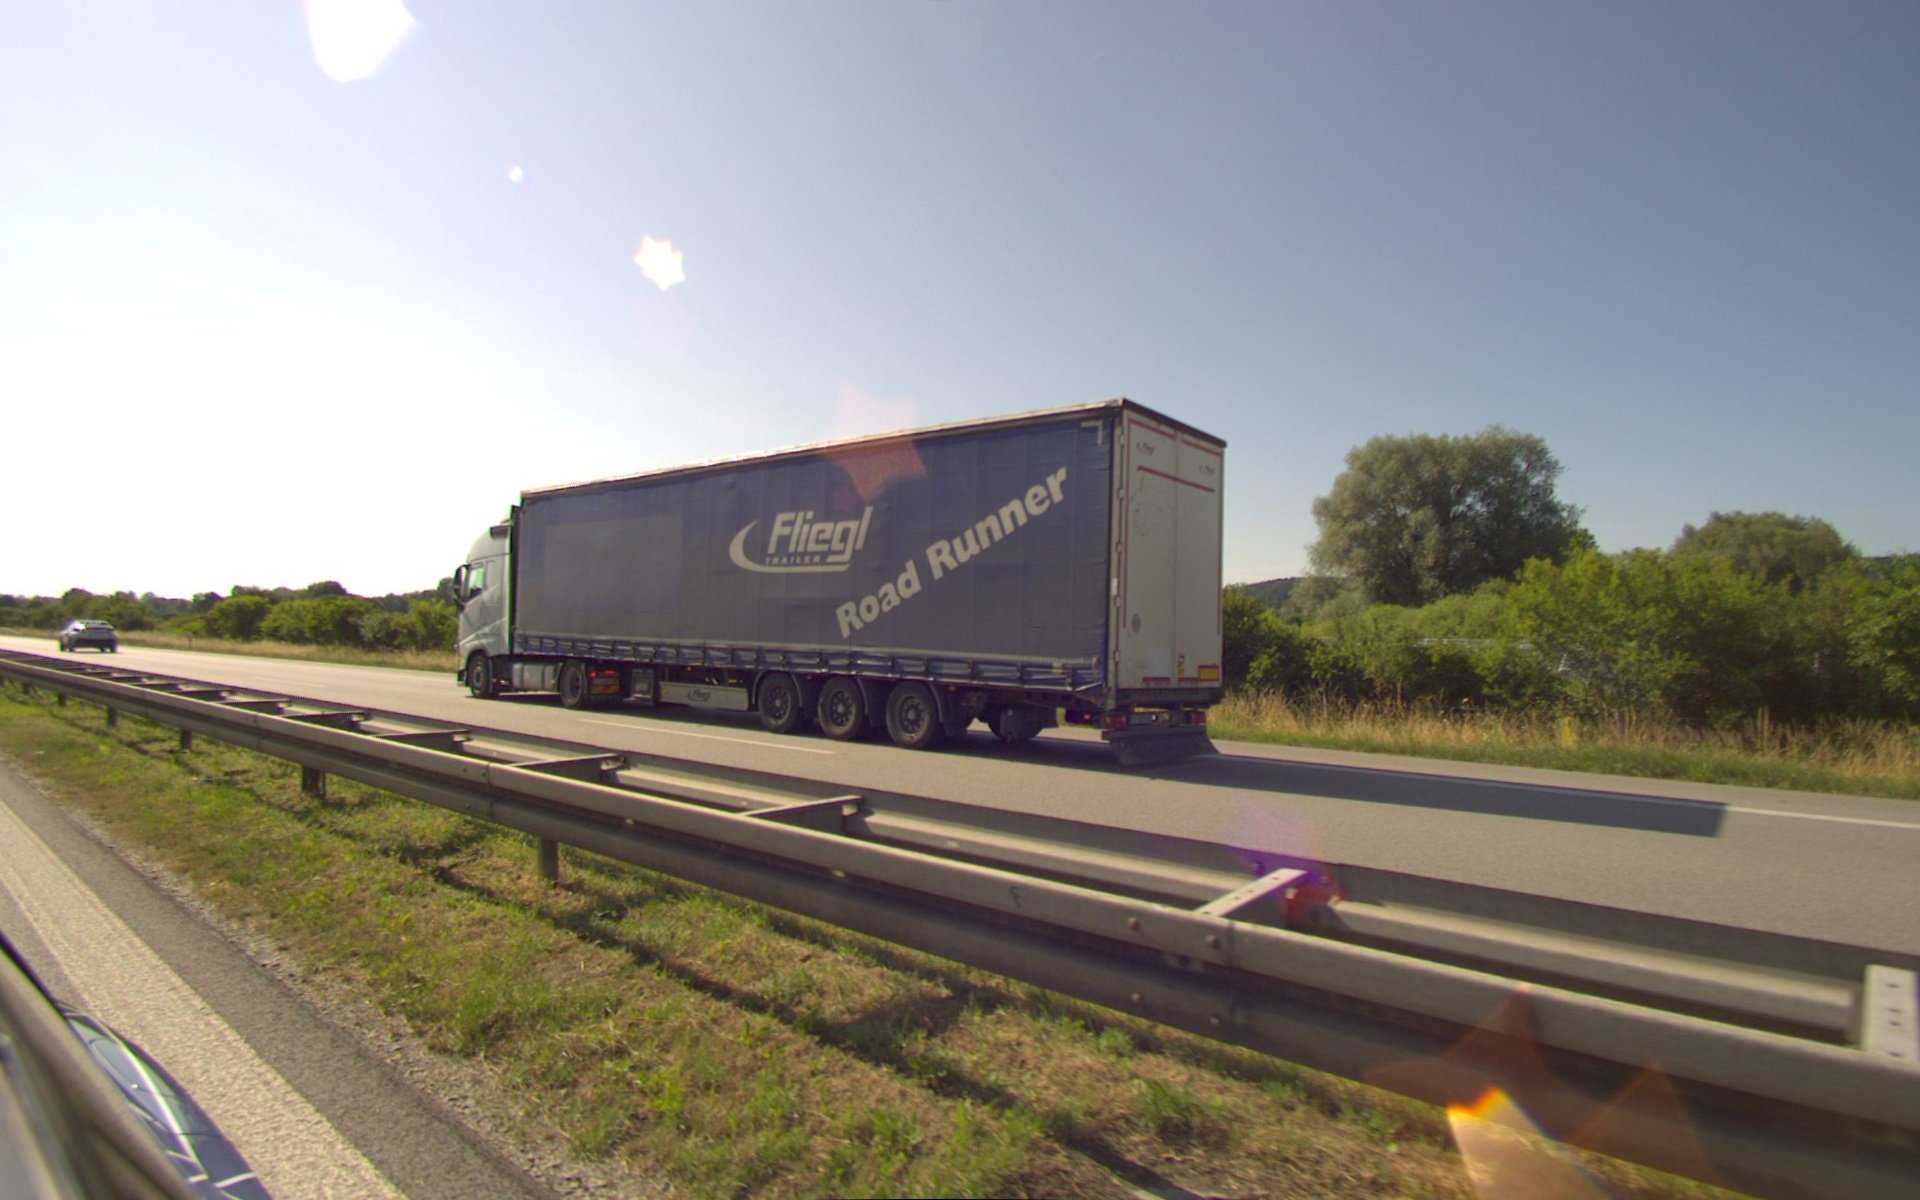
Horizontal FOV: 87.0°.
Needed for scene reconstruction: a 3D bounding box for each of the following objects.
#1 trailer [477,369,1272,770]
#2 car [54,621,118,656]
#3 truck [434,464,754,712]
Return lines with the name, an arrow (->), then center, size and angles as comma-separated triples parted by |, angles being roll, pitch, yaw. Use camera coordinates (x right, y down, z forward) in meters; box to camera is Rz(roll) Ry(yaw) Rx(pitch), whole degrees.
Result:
trailer -> -2.687, -0.173, 16.176 | 14.585, 4.090, 3.152 | -1, -4, 40
car -> -43.117, 1.894, 49.880 | 4.766, 1.594, 1.707 | -1, -4, 42
truck -> -7.413, -0.109, 20.185 | 6.383, 4.145, 3.136 | -1, -3, 40
